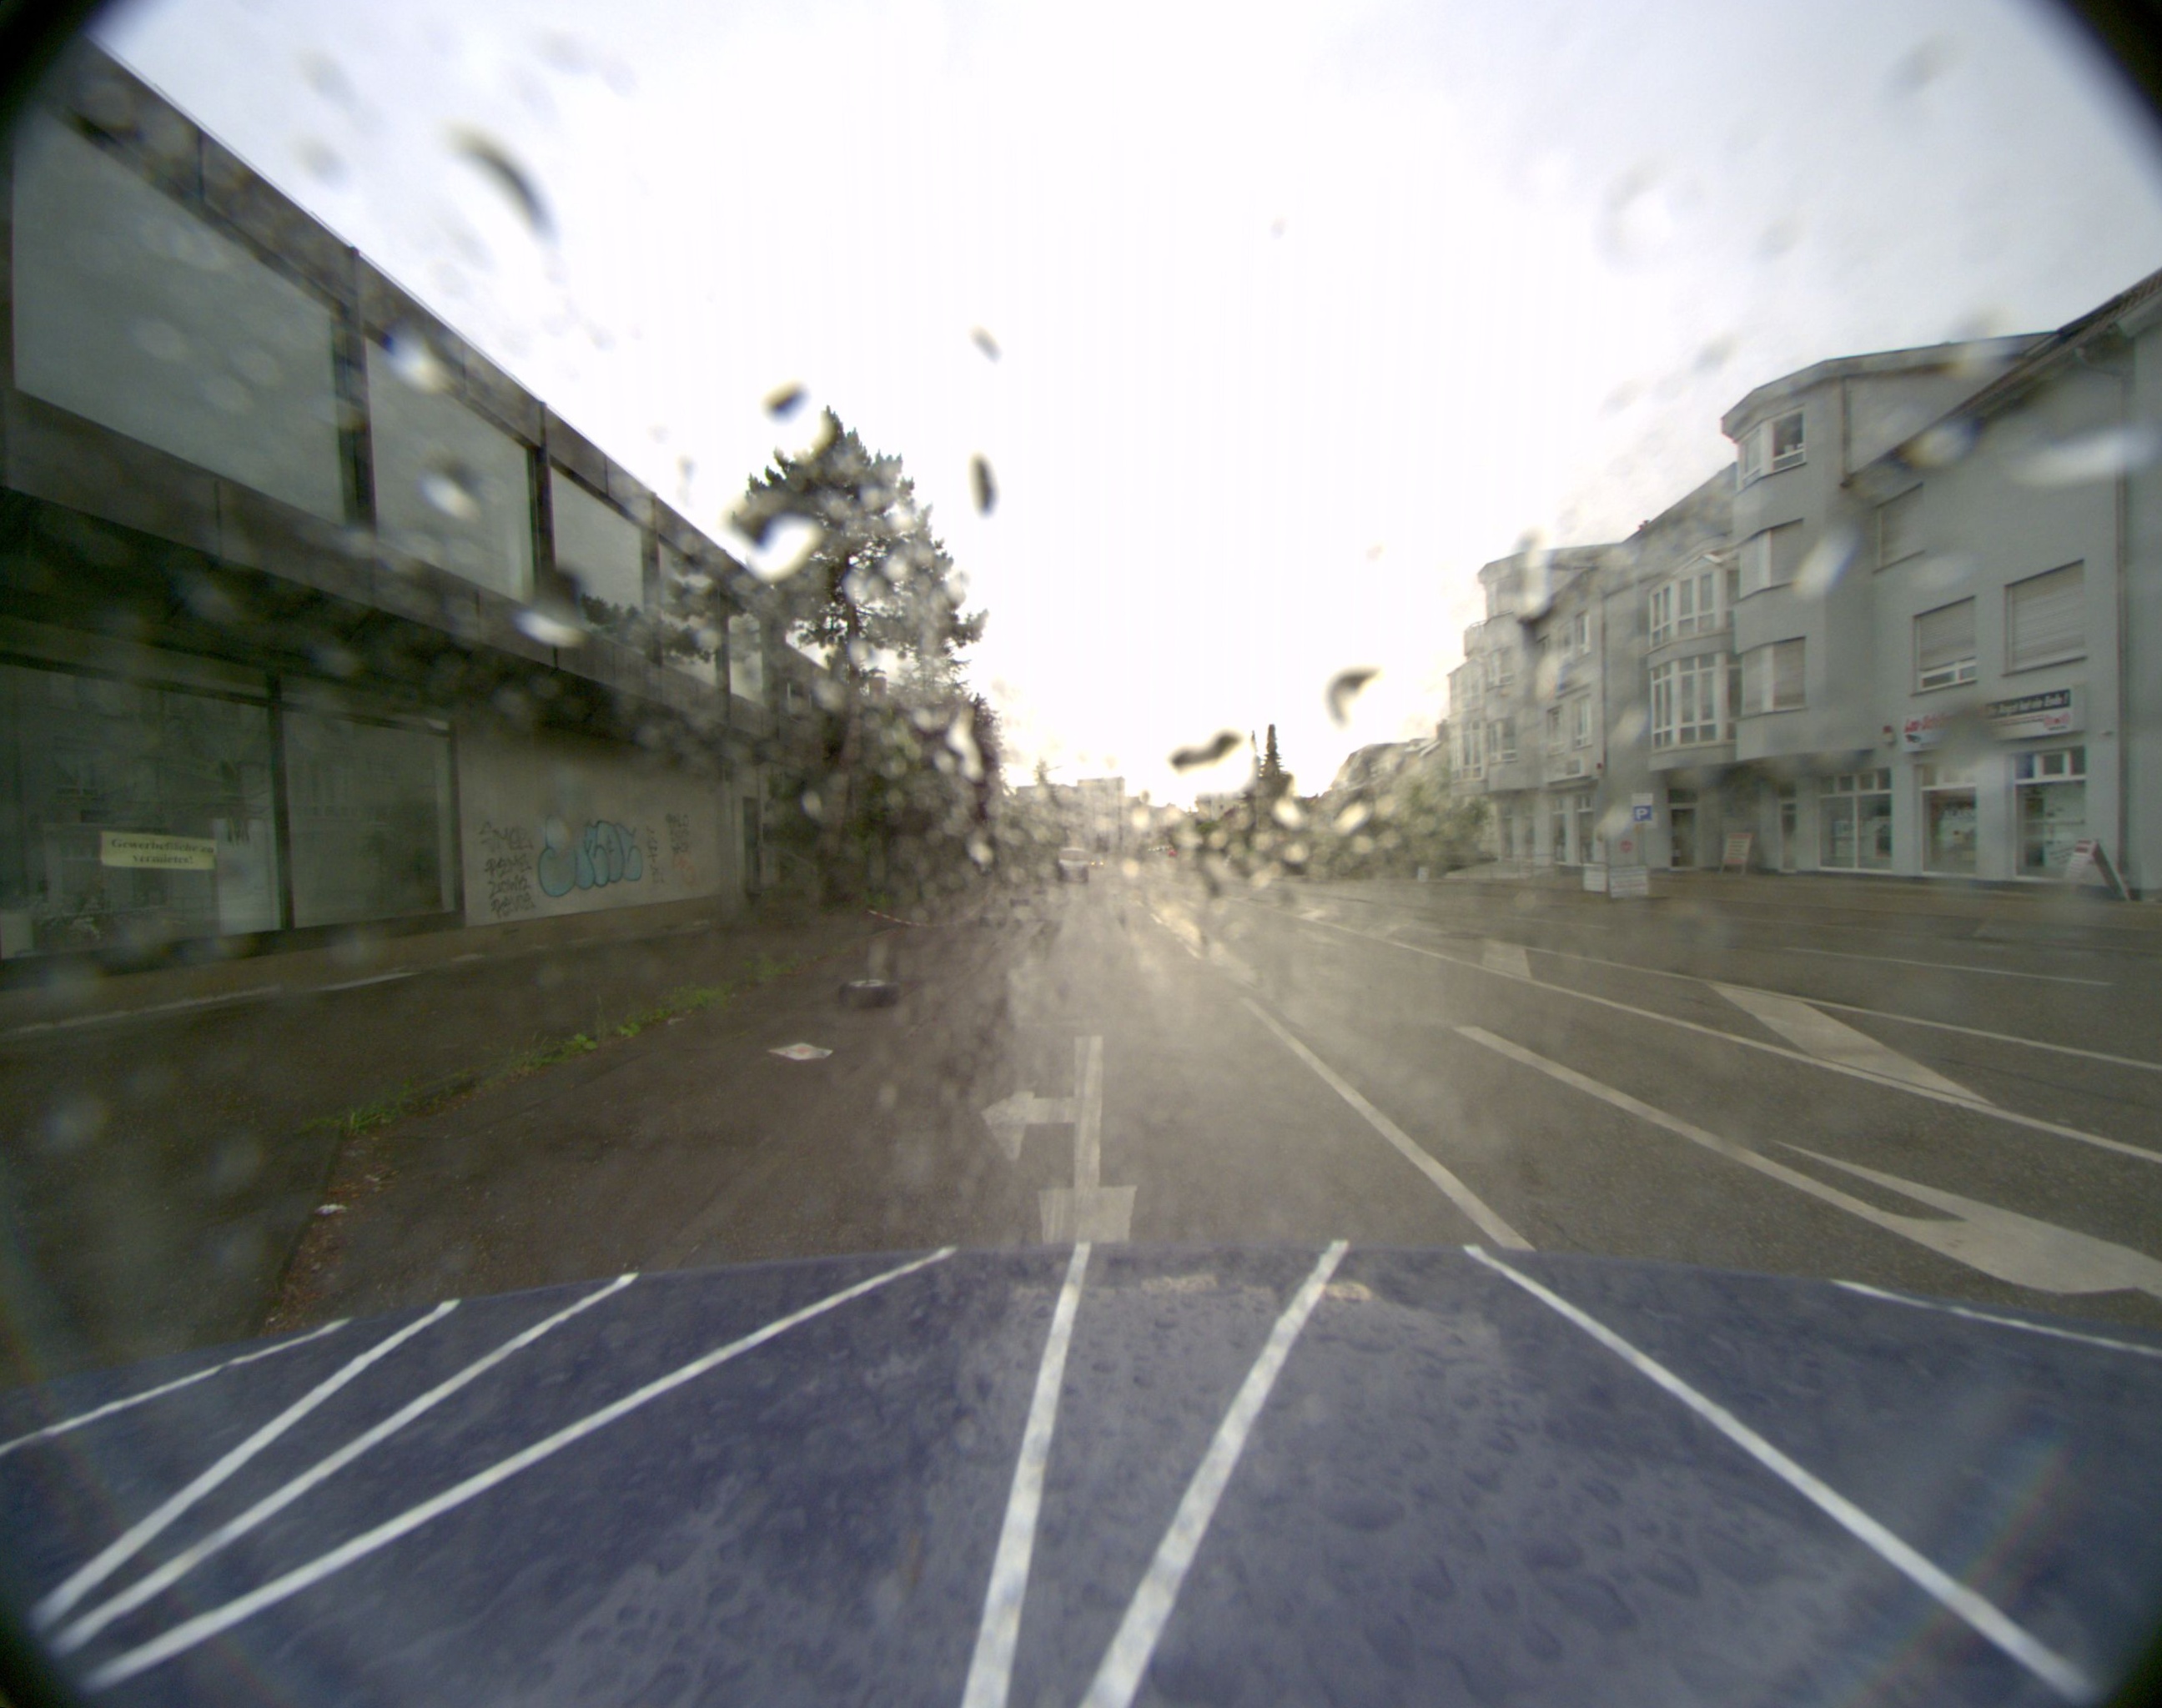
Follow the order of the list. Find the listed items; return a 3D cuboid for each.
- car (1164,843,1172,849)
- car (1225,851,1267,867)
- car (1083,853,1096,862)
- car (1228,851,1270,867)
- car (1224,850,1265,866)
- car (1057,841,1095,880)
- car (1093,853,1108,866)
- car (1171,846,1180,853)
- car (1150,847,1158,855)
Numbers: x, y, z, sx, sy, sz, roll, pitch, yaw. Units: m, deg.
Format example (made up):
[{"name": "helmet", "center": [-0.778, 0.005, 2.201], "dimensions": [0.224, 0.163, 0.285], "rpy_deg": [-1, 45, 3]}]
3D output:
[{"name": "car", "center": [24.498, -2.220, 214.517], "dimensions": [1.850, 1.753, 4.124], "rpy_deg": [-1, 0, 11]}, {"name": "car", "center": [17.397, 0.535, 80.187], "dimensions": [4.155, 1.434, 1.891], "rpy_deg": [-3, 0, 8]}, {"name": "car", "center": [1.478, 0.576, 133.940], "dimensions": [1.912, 1.622, 3.703], "rpy_deg": [-1, 0, 5]}, {"name": "car", "center": [17.161, 0.526, 77.704], "dimensions": [4.034, 1.434, 1.813], "rpy_deg": [-3, 0, 6]}, {"name": "car", "center": [17.811, 0.459, 82.898], "dimensions": [4.114, 1.536, 2.001], "rpy_deg": [-3, 0, 6]}, {"name": "car", "center": [-0.266, 0.420, 51.621], "dimensions": [2.397, 2.417, 6.433], "rpy_deg": [-1, 0, 1]}, {"name": "car", "center": [2.735, 0.762, 105.499], "dimensions": [1.835, 1.783, 3.837], "rpy_deg": [-3, 0, 2]}, {"name": "car", "center": [22.516, -1.076, 180.833], "dimensions": [1.997, 1.606, 4.003], "rpy_deg": [-1, 0, 11]}, {"name": "car", "center": [17.696, -0.666, 184.100], "dimensions": [1.851, 1.870, 4.122], "rpy_deg": [-1, 0, 5]}]
